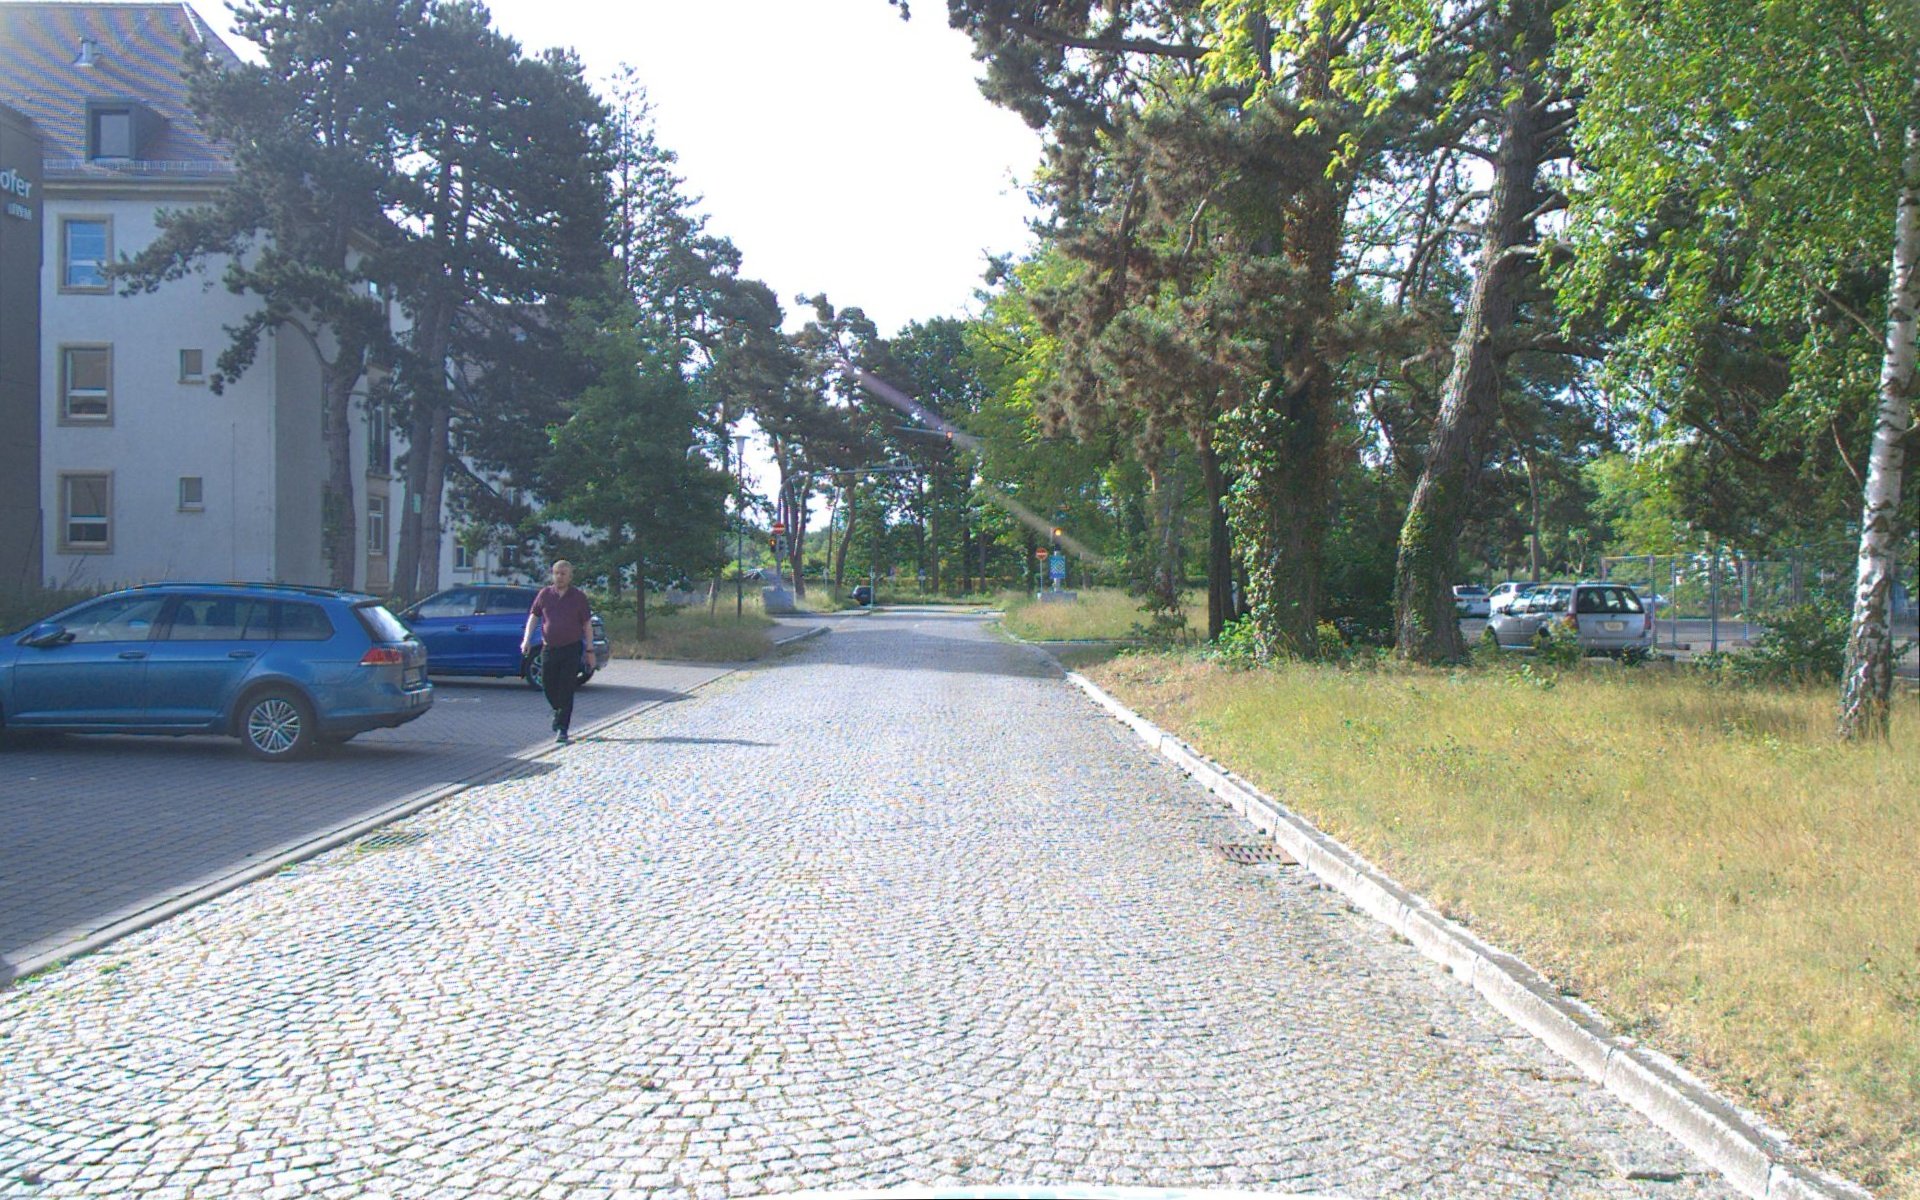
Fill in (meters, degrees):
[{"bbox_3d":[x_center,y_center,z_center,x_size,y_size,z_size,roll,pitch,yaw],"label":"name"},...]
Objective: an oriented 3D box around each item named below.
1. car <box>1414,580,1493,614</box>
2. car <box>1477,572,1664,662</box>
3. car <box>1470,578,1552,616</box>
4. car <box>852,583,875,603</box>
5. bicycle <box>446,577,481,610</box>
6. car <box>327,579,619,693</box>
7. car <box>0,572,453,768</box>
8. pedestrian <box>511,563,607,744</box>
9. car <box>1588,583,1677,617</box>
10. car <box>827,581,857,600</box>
[{"bbox_3d":[20.060,-0.127,67.414,1.697,1.335,4.328,0,1,-4],"label":"car"},{"bbox_3d":[10.819,0.266,29.600,1.634,1.493,3.997,0,1,-4],"label":"car"},{"bbox_3d":[22.527,-0.130,67.771,1.697,1.502,4.328,0,1,-4],"label":"car"},{"bbox_3d":[-7.602,-0.572,130.637,1.808,1.512,3.998,0,1,-3],"label":"car"},{"bbox_3d":[-22.300,-0.304,74.326,0.809,1.462,2.553,0,1,-1],"label":"bicycle"},{"bbox_3d":[-7.126,0.509,24.449,3.757,1.489,1.720,2,0,0],"label":"car"},{"bbox_3d":[-6.906,0.591,14.847,4.172,1.489,1.680,2,2,-4],"label":"car"},{"bbox_3d":[-4.110,0.524,17.033,0.788,1.802,1.152,0,0,-5],"label":"pedestrian"},{"bbox_3d":[27.768,-0.026,68.461,1.697,1.335,4.328,0,1,-4],"label":"car"},{"bbox_3d":[-9.648,-0.796,135.338,1.745,1.516,3.758,0,1,6],"label":"car"}]
